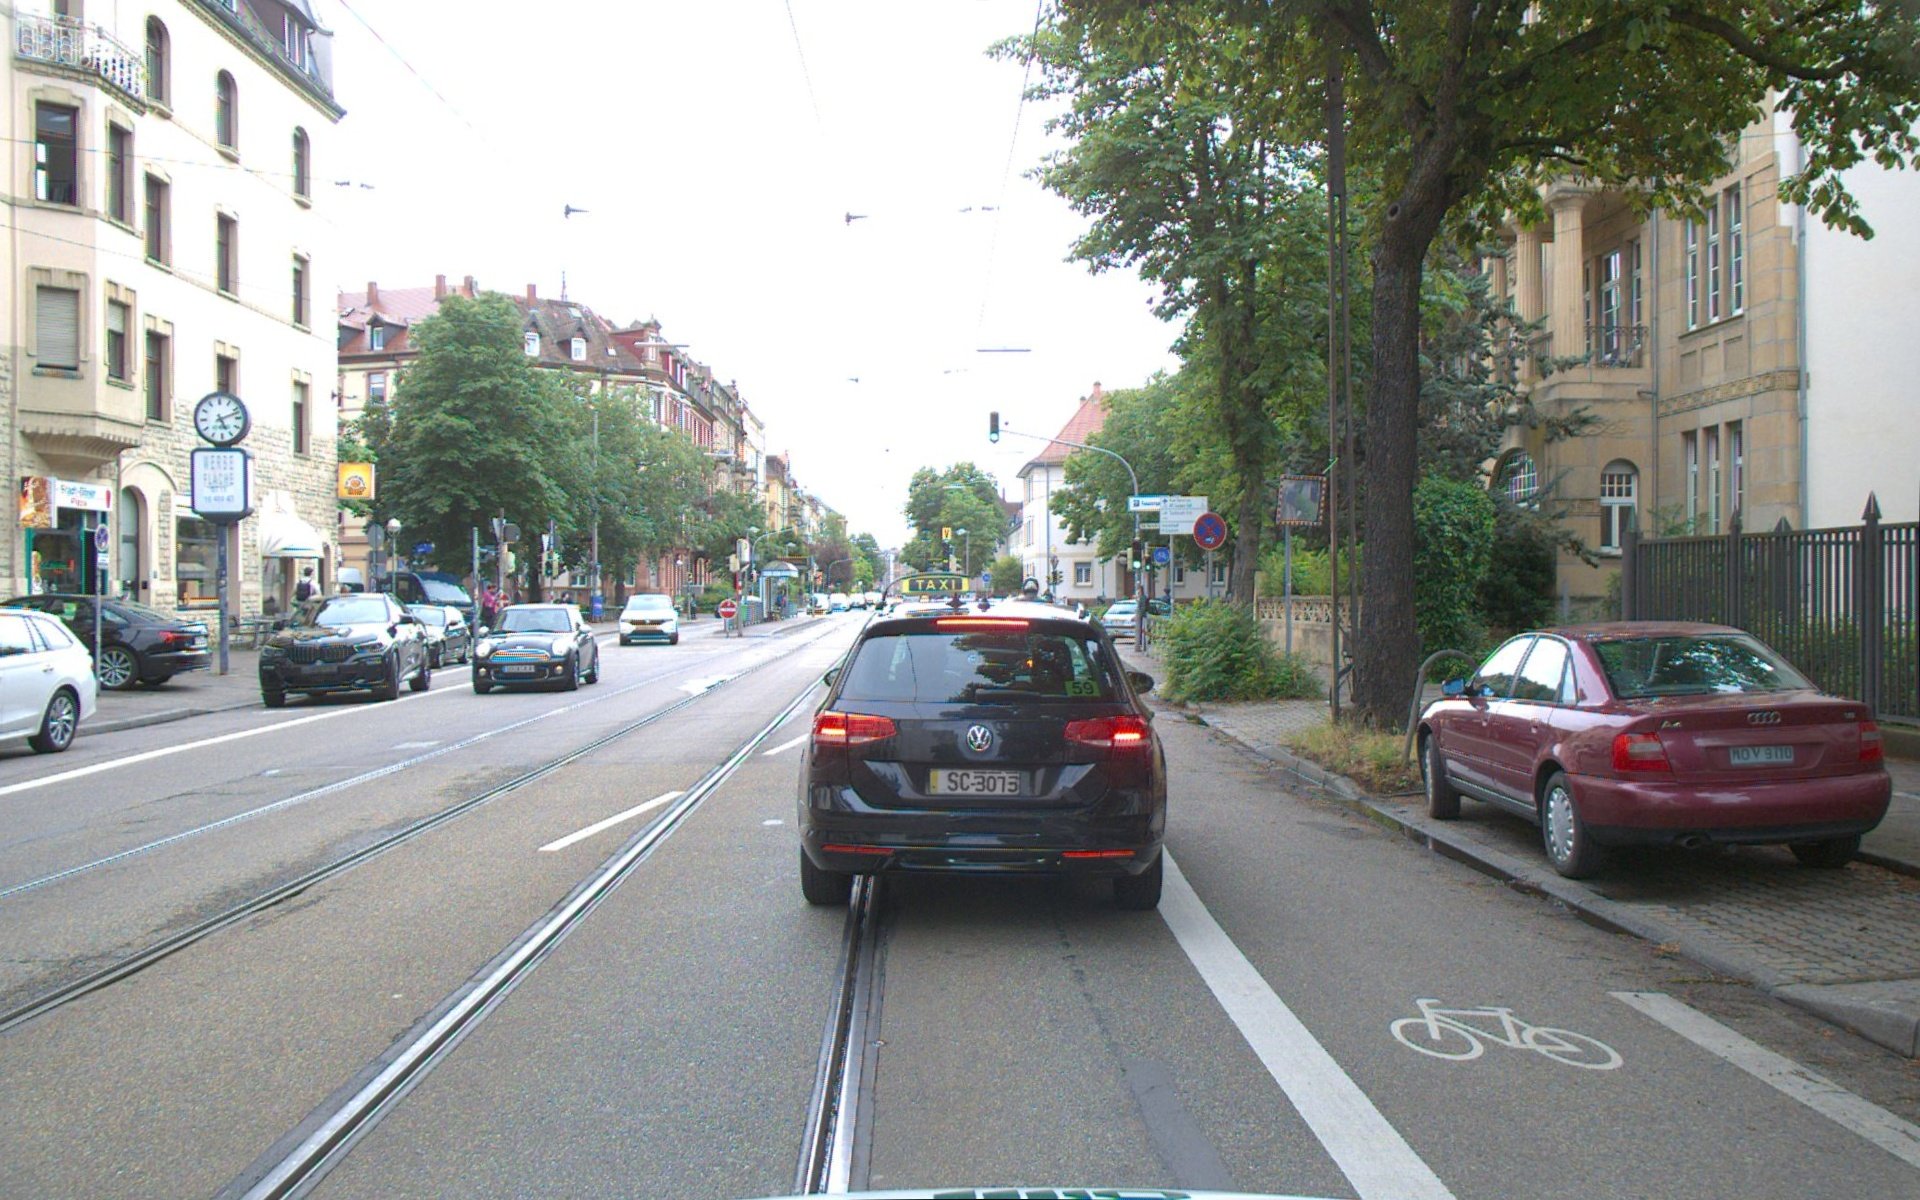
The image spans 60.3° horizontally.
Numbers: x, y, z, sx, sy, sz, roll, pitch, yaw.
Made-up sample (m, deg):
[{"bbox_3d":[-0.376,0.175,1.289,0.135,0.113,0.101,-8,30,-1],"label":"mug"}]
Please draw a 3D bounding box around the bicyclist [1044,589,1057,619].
[{"bbox_3d":[4.767,0.202,87.395,0.637,1.596,0.696,-1,0,6],"label":"bicyclist"}]

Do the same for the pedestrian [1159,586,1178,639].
[{"bbox_3d":[7.484,0.439,59.395,0.503,1.862,0.418,-3,0,15],"label":"pedestrian"}]

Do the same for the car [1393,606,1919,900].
[{"bbox_3d":[4.210,0.804,10.737,1.570,1.423,4.226,-2,0,-1],"label":"car"}]

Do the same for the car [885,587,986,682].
[{"bbox_3d":[-0.452,0.567,29.542,1.688,1.573,3.999,0,0,-1],"label":"car"}]

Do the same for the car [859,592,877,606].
[{"bbox_3d":[-10.693,-0.140,192.968,1.758,1.624,4.001,0,0,1],"label":"car"}]

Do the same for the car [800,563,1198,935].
[{"bbox_3d":[0.124,0.622,9.019,1.688,1.573,3.999,0,0,-1],"label":"car"}]

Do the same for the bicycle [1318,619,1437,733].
[{"bbox_3d":[4.714,0.830,18.590,0.426,1.219,1.891,0,-1,43],"label":"bicycle"}]

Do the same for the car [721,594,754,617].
[{"bbox_3d":[-16.113,0.397,119.807,1.953,1.624,3.999,-1,0,-2],"label":"car"}]

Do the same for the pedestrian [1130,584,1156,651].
[{"bbox_3d":[5.141,0.489,46.495,0.573,1.862,0.604,-3,0,0],"label":"pedestrian"}]

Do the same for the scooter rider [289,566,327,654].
[{"bbox_3d":[-15.394,0.235,39.063,0.629,2.049,0.757,0,0,-5],"label":"scooter rider"}]

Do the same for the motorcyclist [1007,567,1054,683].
[{"bbox_3d":[1.061,0.371,24.908,0.688,1.722,0.804,0,0,2],"label":"motorcyclist"}]

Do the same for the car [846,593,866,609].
[{"bbox_3d":[-9.743,0.086,154.803,1.686,1.490,3.862,0,0,-2],"label":"car"}]

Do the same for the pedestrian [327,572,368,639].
[{"bbox_3d":[-19.076,0.165,51.517,0.954,2.049,0.835,-1,0,-2],"label":"pedestrian"}]

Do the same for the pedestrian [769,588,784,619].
[{"bbox_3d":[-9.417,0.182,84.924,0.699,1.547,0.590,0,0,0],"label":"pedestrian"}]

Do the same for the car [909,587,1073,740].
[{"bbox_3d":[0.278,0.647,19.129,1.688,1.573,3.999,0,0,-1],"label":"car"}]

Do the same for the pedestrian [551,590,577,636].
[{"bbox_3d":[-14.631,0.488,61.096,0.819,1.692,0.591,0,0,0],"label":"pedestrian"}]

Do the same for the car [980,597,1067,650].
[{"bbox_3d":[1.888,0.646,47.842,1.851,1.432,4.004,-1,0,12],"label":"car"}]

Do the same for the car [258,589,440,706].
[{"bbox_3d":[-9.832,0.700,26.993,1.849,1.639,4.876,-3,0,-10],"label":"car"}]

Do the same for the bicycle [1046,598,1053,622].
[{"bbox_3d":[4.748,0.530,87.357,0.291,1.244,1.431,-1,0,6],"label":"bicycle"}]

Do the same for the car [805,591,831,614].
[{"bbox_3d":[-10.563,0.159,123.007,1.686,1.651,3.862,0,0,-2],"label":"car"}]

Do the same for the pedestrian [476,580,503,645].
[{"bbox_3d":[-13.639,0.347,47.975,0.610,1.875,0.609,0,0,-4],"label":"pedestrian"}]

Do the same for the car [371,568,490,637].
[{"bbox_3d":[-19.857,0.081,61.884,2.169,2.460,5.294,0,0,-43],"label":"car"}]

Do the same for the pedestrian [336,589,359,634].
[{"bbox_3d":[-24.081,0.434,65.042,0.694,1.745,0.544,0,0,-42],"label":"pedestrian"}]

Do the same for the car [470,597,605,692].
[{"bbox_3d":[-7.080,0.702,27.997,1.577,1.447,3.483,-1,0,-4],"label":"car"}]

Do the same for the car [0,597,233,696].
[{"bbox_3d":[-14.332,0.722,26.684,4.340,1.394,1.878,2,0,-6],"label":"car"}]

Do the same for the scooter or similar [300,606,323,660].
[{"bbox_3d":[-15.315,0.777,39.075,0.226,1.256,0.953,0,0,-3],"label":"scooter or similar"}]

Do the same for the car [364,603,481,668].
[{"bbox_3d":[-12.740,0.810,39.445,1.616,1.385,4.126,2,0,-4],"label":"car"}]

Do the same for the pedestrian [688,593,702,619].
[{"bbox_3d":[-15.848,0.341,98.975,0.577,1.547,0.647,0,0,34],"label":"pedestrian"}]

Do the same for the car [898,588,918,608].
[{"bbox_3d":[-5.232,-0.189,166.669,1.992,2.049,3.999,1,0,-1],"label":"car"}]

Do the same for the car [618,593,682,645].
[{"bbox_3d":[-9.771,0.568,52.351,1.666,1.522,3.925,-1,0,-7],"label":"car"}]

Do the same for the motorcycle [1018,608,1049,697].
[{"bbox_3d":[1.097,0.764,24.876,0.437,1.257,1.907,0,0,2],"label":"motorcycle"}]

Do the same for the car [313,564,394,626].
[{"bbox_3d":[-26.116,-0.208,71.086,2.159,2.571,5.319,0,0,-33],"label":"car"}]

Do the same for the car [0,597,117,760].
[{"bbox_3d":[-9.805,0.743,15.388,1.712,1.510,4.607,-1,0,-2],"label":"car"}]

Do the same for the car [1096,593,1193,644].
[{"bbox_3d":[6.207,0.621,55.157,1.955,1.605,3.995,1,0,27],"label":"car"}]

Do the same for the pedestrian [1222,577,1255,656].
[{"bbox_3d":[6.606,0.389,39.269,0.619,1.846,0.725,0,0,-4],"label":"pedestrian"}]

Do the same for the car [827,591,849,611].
[{"bbox_3d":[-10.194,0.082,138.215,1.686,1.651,3.862,0,0,-2],"label":"car"}]
